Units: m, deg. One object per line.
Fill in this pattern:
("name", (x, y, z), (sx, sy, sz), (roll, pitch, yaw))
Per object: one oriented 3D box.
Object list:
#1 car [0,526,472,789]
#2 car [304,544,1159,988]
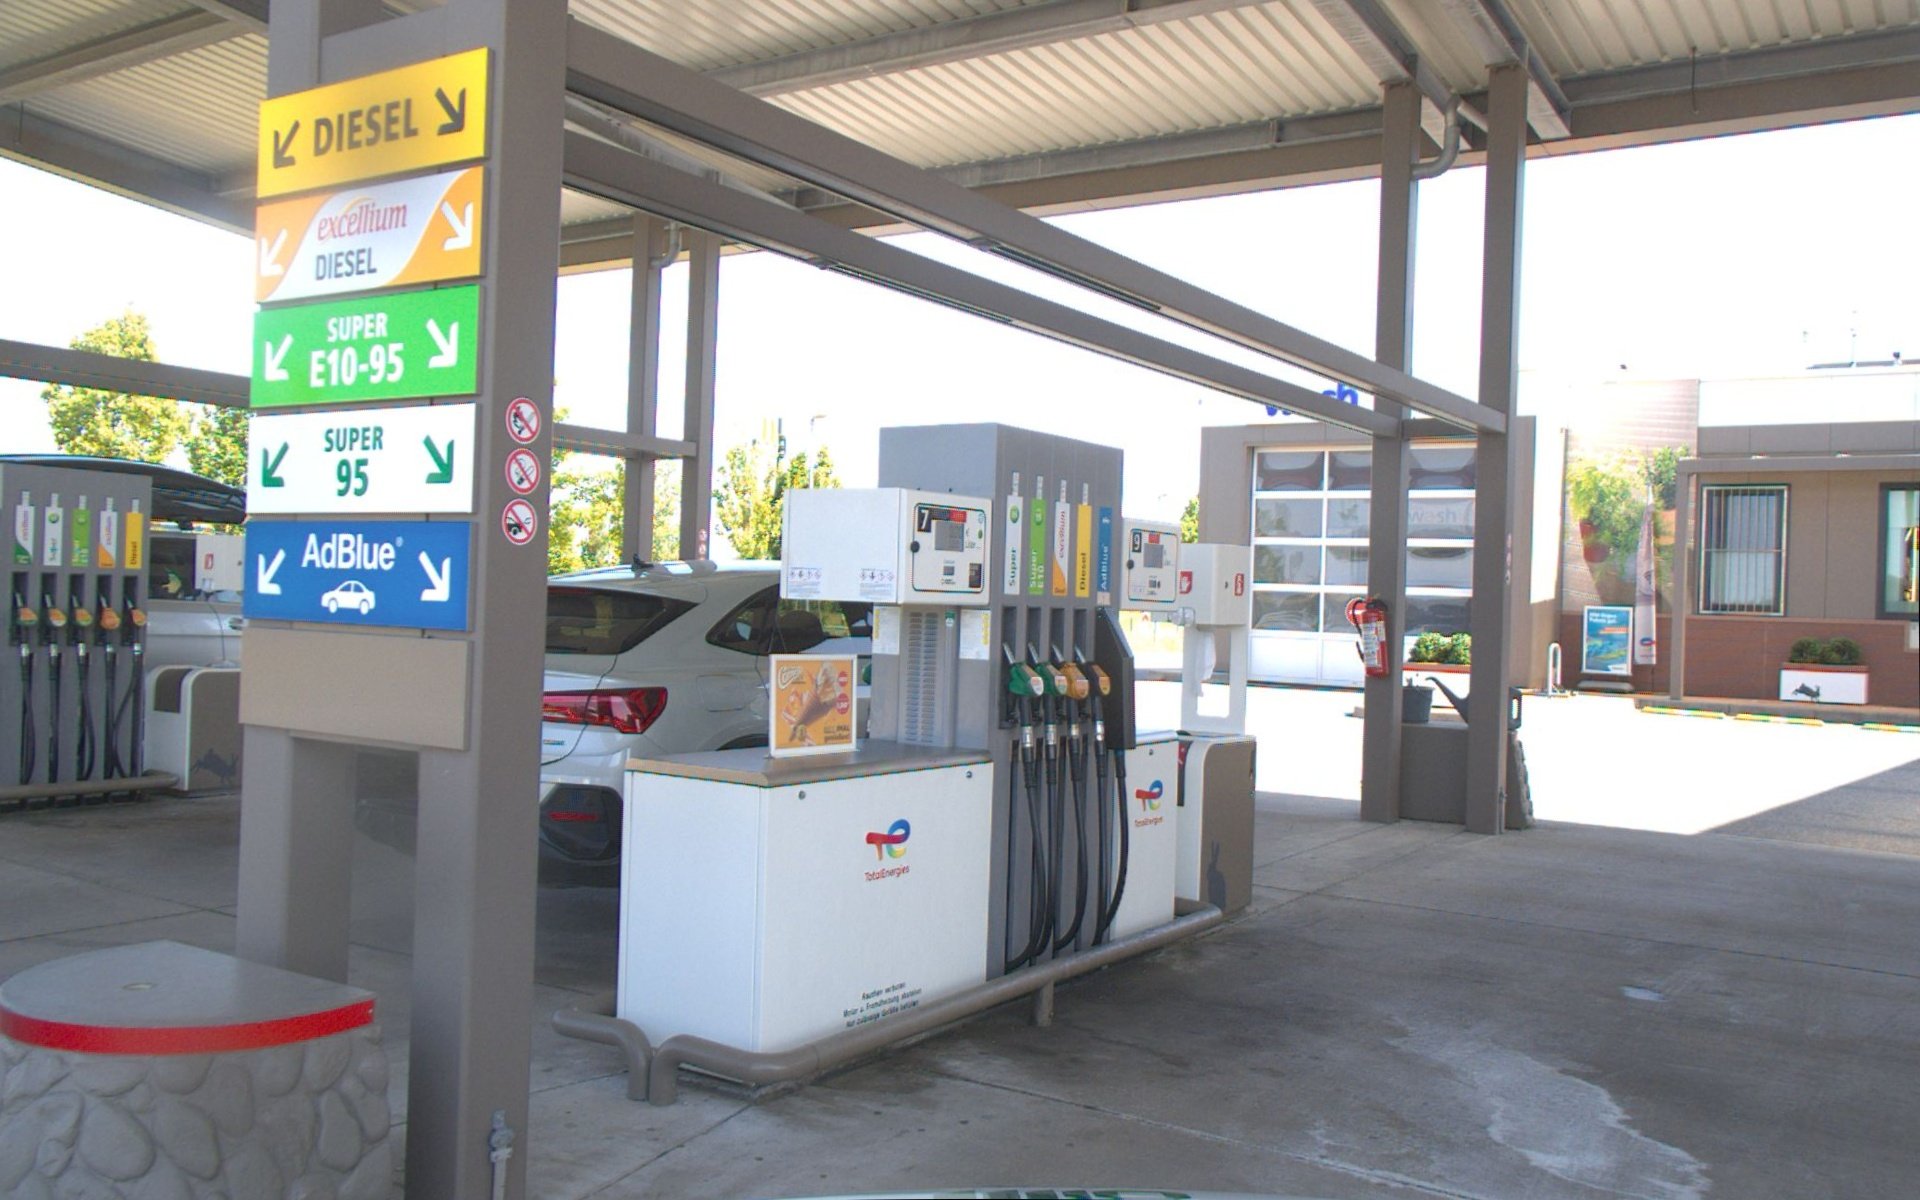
("car", (-6.146, 0.358, 12.811), (1.825, 1.717, 4.527), (1, 1, 30))
("car", (-0.795, 0.584, 8.166), (1.749, 1.568, 4.312), (2, 1, 34))
